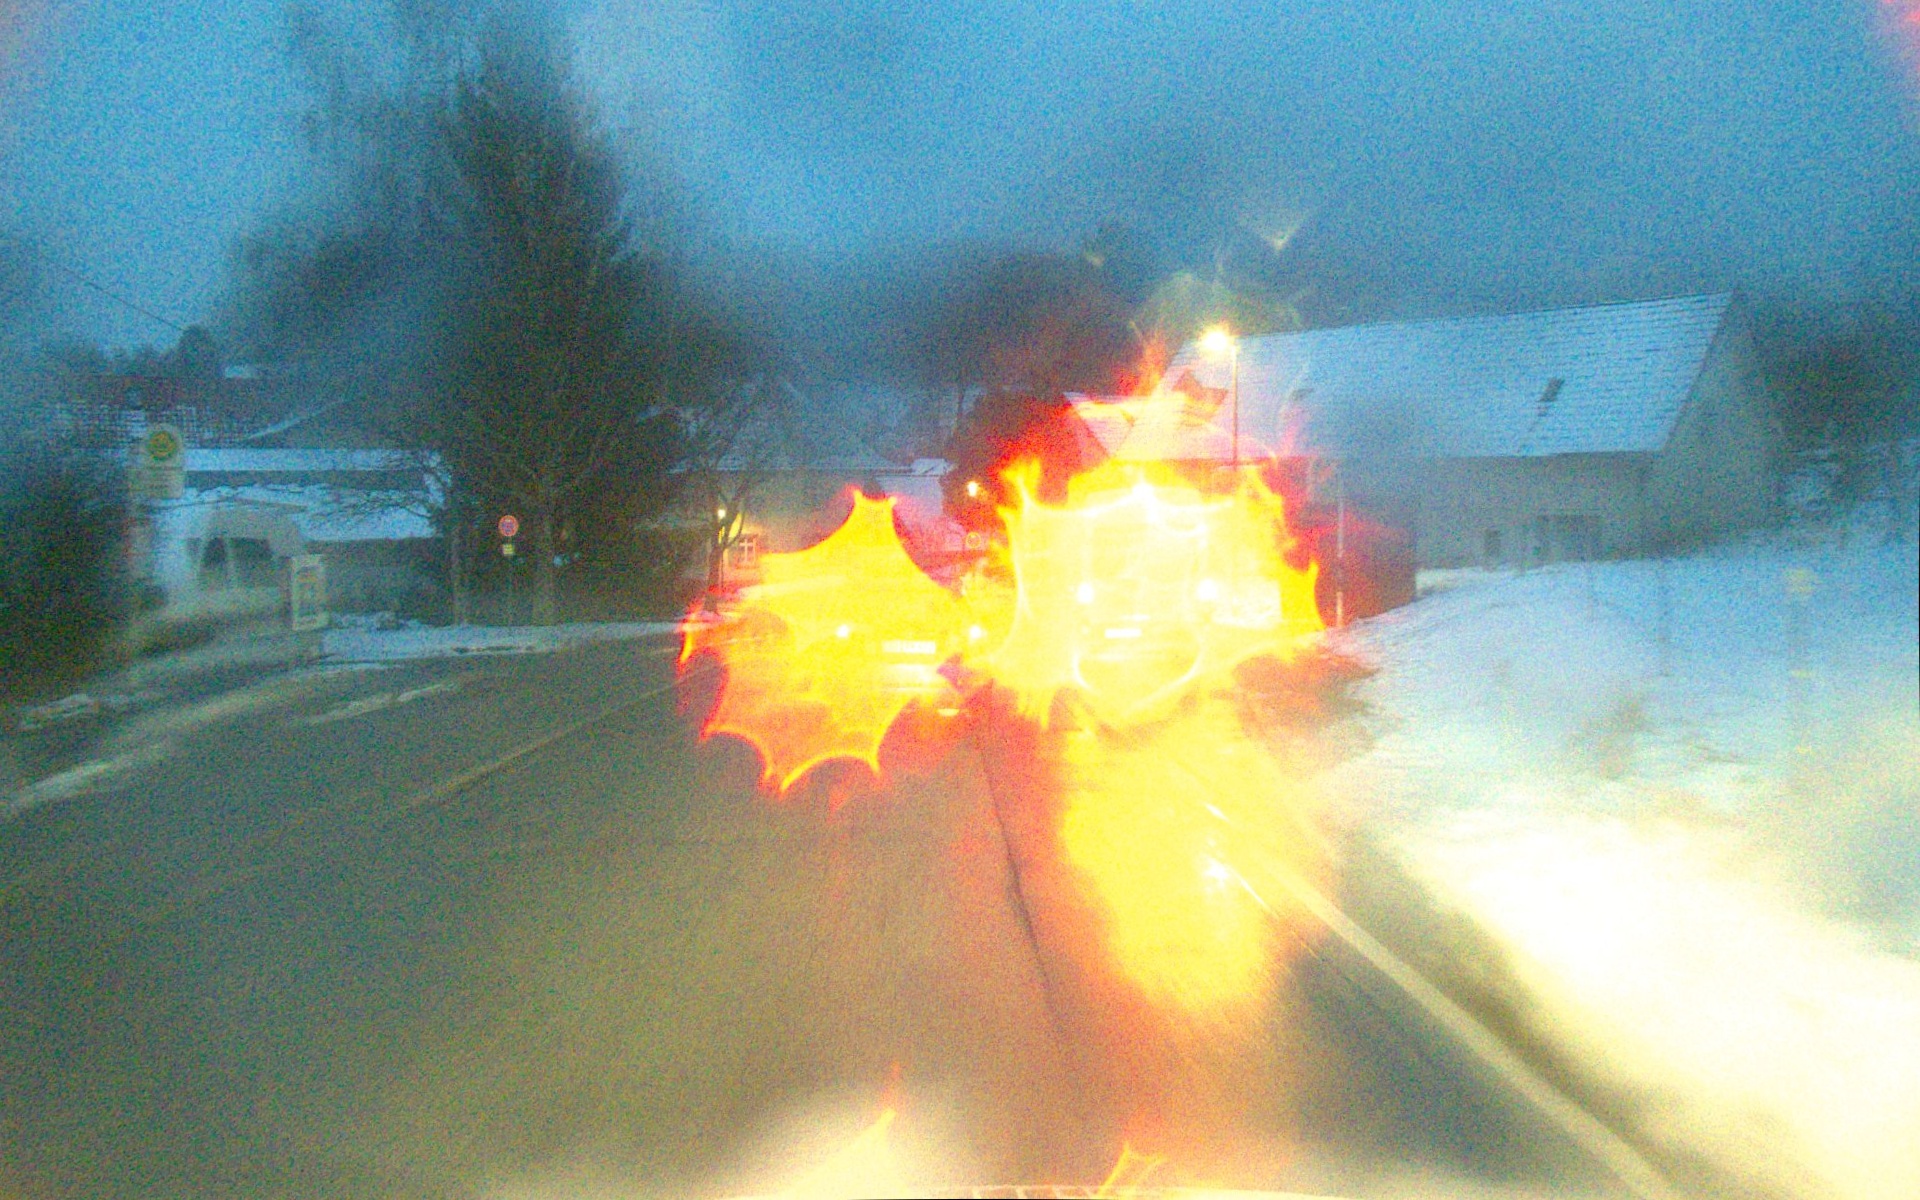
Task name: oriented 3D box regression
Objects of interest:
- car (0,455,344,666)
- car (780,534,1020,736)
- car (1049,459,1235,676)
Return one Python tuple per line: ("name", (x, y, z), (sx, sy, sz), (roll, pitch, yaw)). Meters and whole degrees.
("car", (-11.195, -0.573, 23.870), (2.419, 2.616, 6.227), (1, 1, -2))
("car", (-0.626, 0.306, 17.980), (2.228, 1.873, 5.005), (0, 0, -2))
("car", (2.720, -0.491, 26.082), (2.385, 3.071, 5.325), (0, 1, 0))
